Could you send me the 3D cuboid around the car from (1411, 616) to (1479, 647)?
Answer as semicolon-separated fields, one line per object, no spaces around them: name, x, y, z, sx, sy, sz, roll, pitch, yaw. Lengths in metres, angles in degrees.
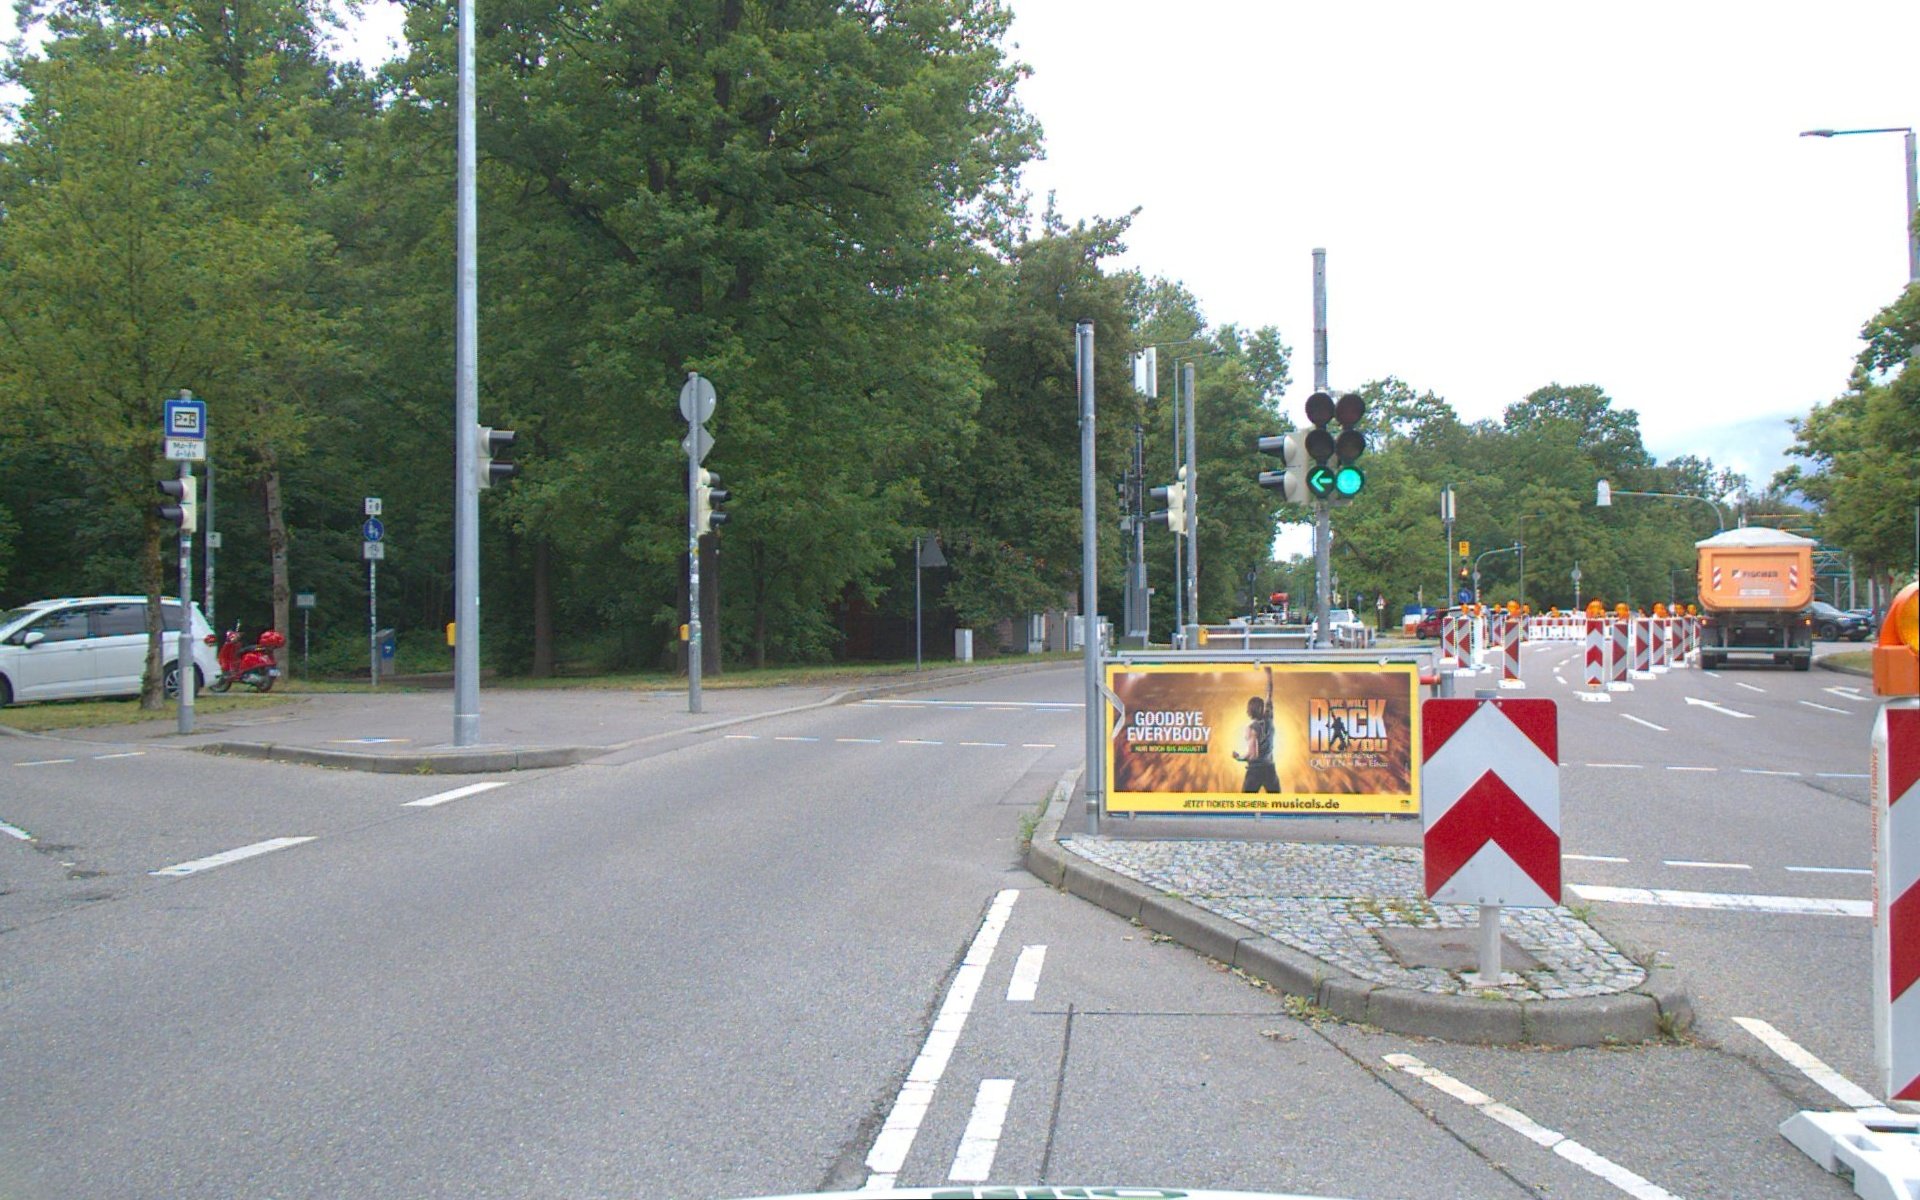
car;30.676;1.980;104.644;1.969;1.915;3.966;1;-1;-26

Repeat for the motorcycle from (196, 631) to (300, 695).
motorcycle;-13.554;1.187;31.482;1.965;1.181;0.676;-1;-1;25

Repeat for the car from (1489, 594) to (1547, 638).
car;23.155;0.685;68.552;1.761;1.769;3.698;0;-1;27

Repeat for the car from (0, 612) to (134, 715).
car;-15.385;0.988;25.898;1.909;1.582;3.992;-1;-1;38

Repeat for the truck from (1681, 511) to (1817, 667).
truck;20.130;-0.253;42.187;2.803;3.576;8.240;-1;0;26

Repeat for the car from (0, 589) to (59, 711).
car;-17.716;0.815;27.244;2.038;2.057;4.652;0;-2;31

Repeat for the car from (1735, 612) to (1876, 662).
car;36.525;1.584;71.616;1.969;2.049;5.390;1;-1;-26

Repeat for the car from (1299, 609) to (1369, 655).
car;15.169;1.298;66.907;1.953;1.780;4.576;1;-1;24

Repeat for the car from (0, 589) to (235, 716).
car;-13.439;0.765;24.442;2.122;1.723;4.517;-3;-1;37

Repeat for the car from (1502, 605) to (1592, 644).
car;30.142;1.259;85.037;1.978;1.915;3.949;2;-1;-36
